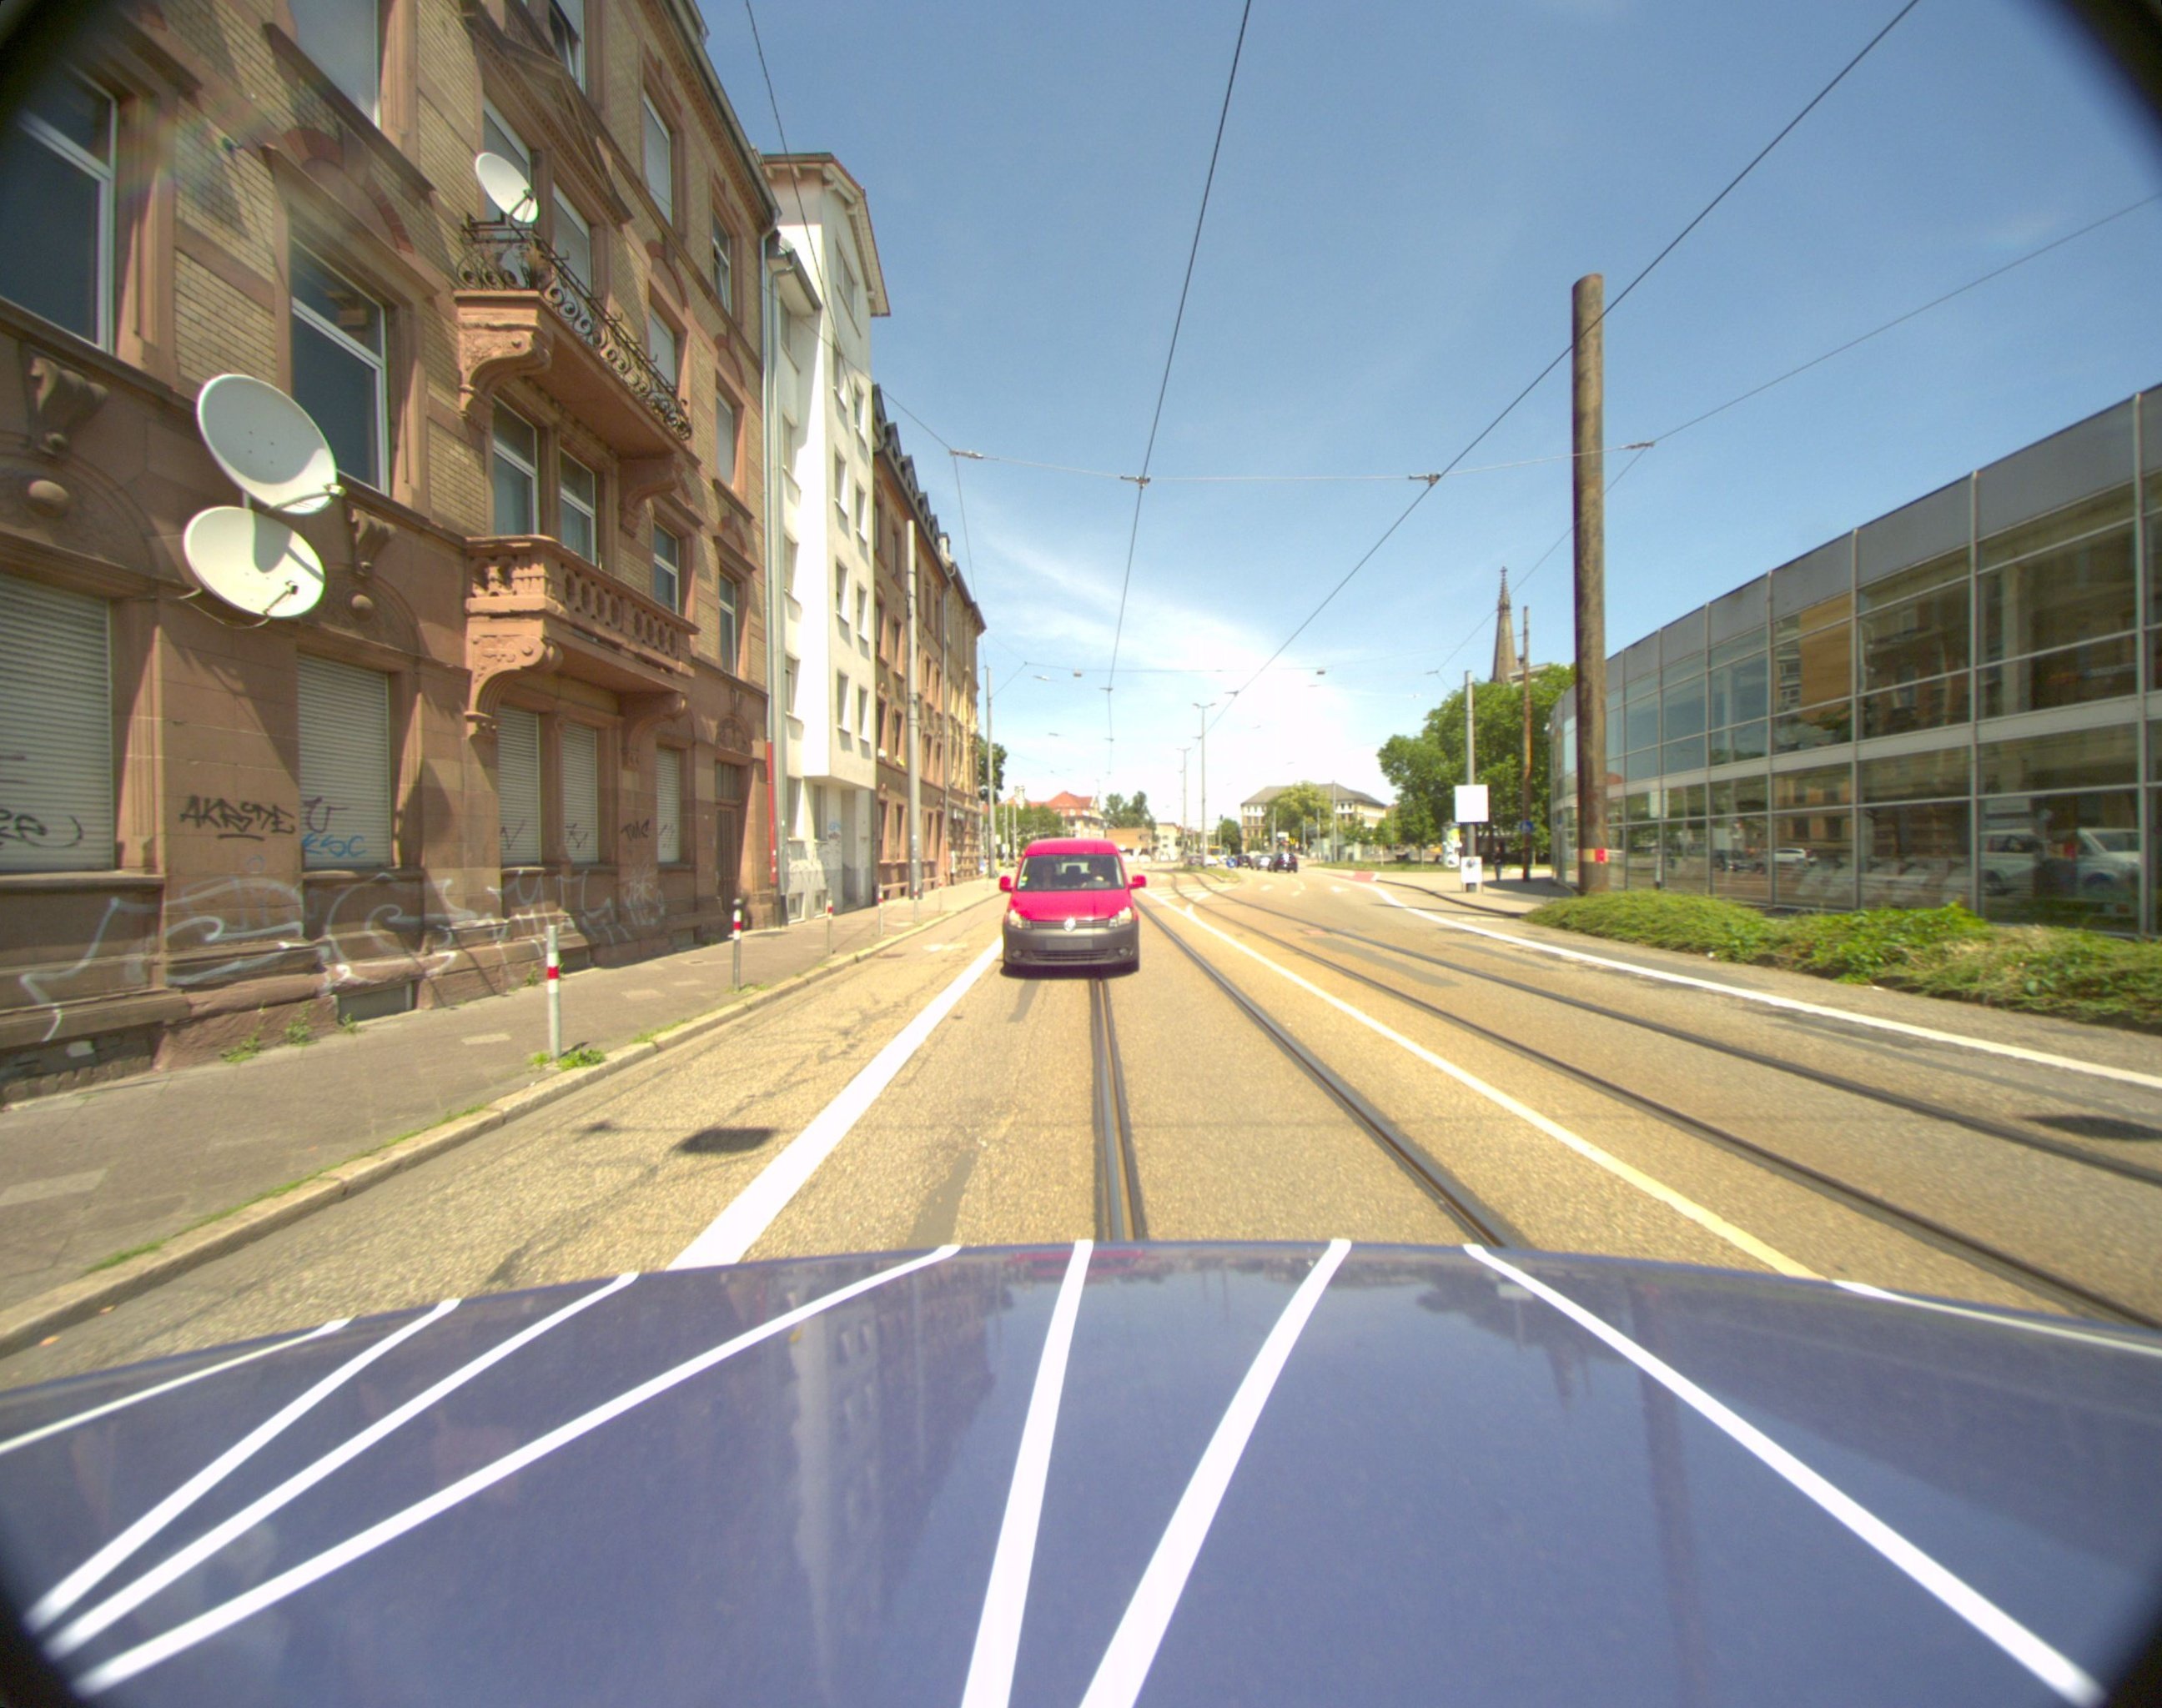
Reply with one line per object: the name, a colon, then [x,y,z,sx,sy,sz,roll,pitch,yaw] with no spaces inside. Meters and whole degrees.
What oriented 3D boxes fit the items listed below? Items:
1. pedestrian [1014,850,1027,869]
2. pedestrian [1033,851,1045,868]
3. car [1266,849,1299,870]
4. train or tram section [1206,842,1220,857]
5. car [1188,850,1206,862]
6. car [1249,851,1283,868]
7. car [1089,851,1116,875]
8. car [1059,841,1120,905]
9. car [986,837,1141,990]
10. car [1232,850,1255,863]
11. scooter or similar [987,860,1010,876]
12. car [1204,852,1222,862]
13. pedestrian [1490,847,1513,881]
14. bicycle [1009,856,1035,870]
pedestrian: [-5.743,0.548,71.832,0.826,1.765,0.812,-3,2,-43]
pedestrian: [-4.269,0.563,76.698,0.808,1.769,0.876,-1,1,33]
car: [16.614,0.437,62.738,1.826,1.617,4.526,0,0,4]
train or tram section: [29.295,-1.088,168.626,2.839,3.195,9.116,-1,0,11]
car: [14.663,0.263,96.121,1.847,1.471,4.331,0,0,2]
car: [17.507,0.454,72.096,1.998,1.521,5.131,1,1,1]
car: [1.321,0.538,45.997,1.570,1.346,3.459,-1,0,2]
car: [0.323,0.585,25.796,1.874,1.954,3.823,-1,0,1]
car: [-0.053,0.704,11.075,1.755,1.802,4.099,-1,0,5]
car: [17.537,0.259,82.004,1.675,1.453,3.903,0,0,1]
scooter or similar: [-6.101,1.035,56.487,1.527,1.149,0.713,-1,0,-28]
car: [17.633,0.360,101.944,1.711,1.291,4.203,0,1,0]
pedestrian: [20.419,0.492,36.903,0.729,1.632,0.820,-1,1,4]
bicycle: [-5.589,0.852,71.949,2.225,1.243,1.096,-1,0,-43]
